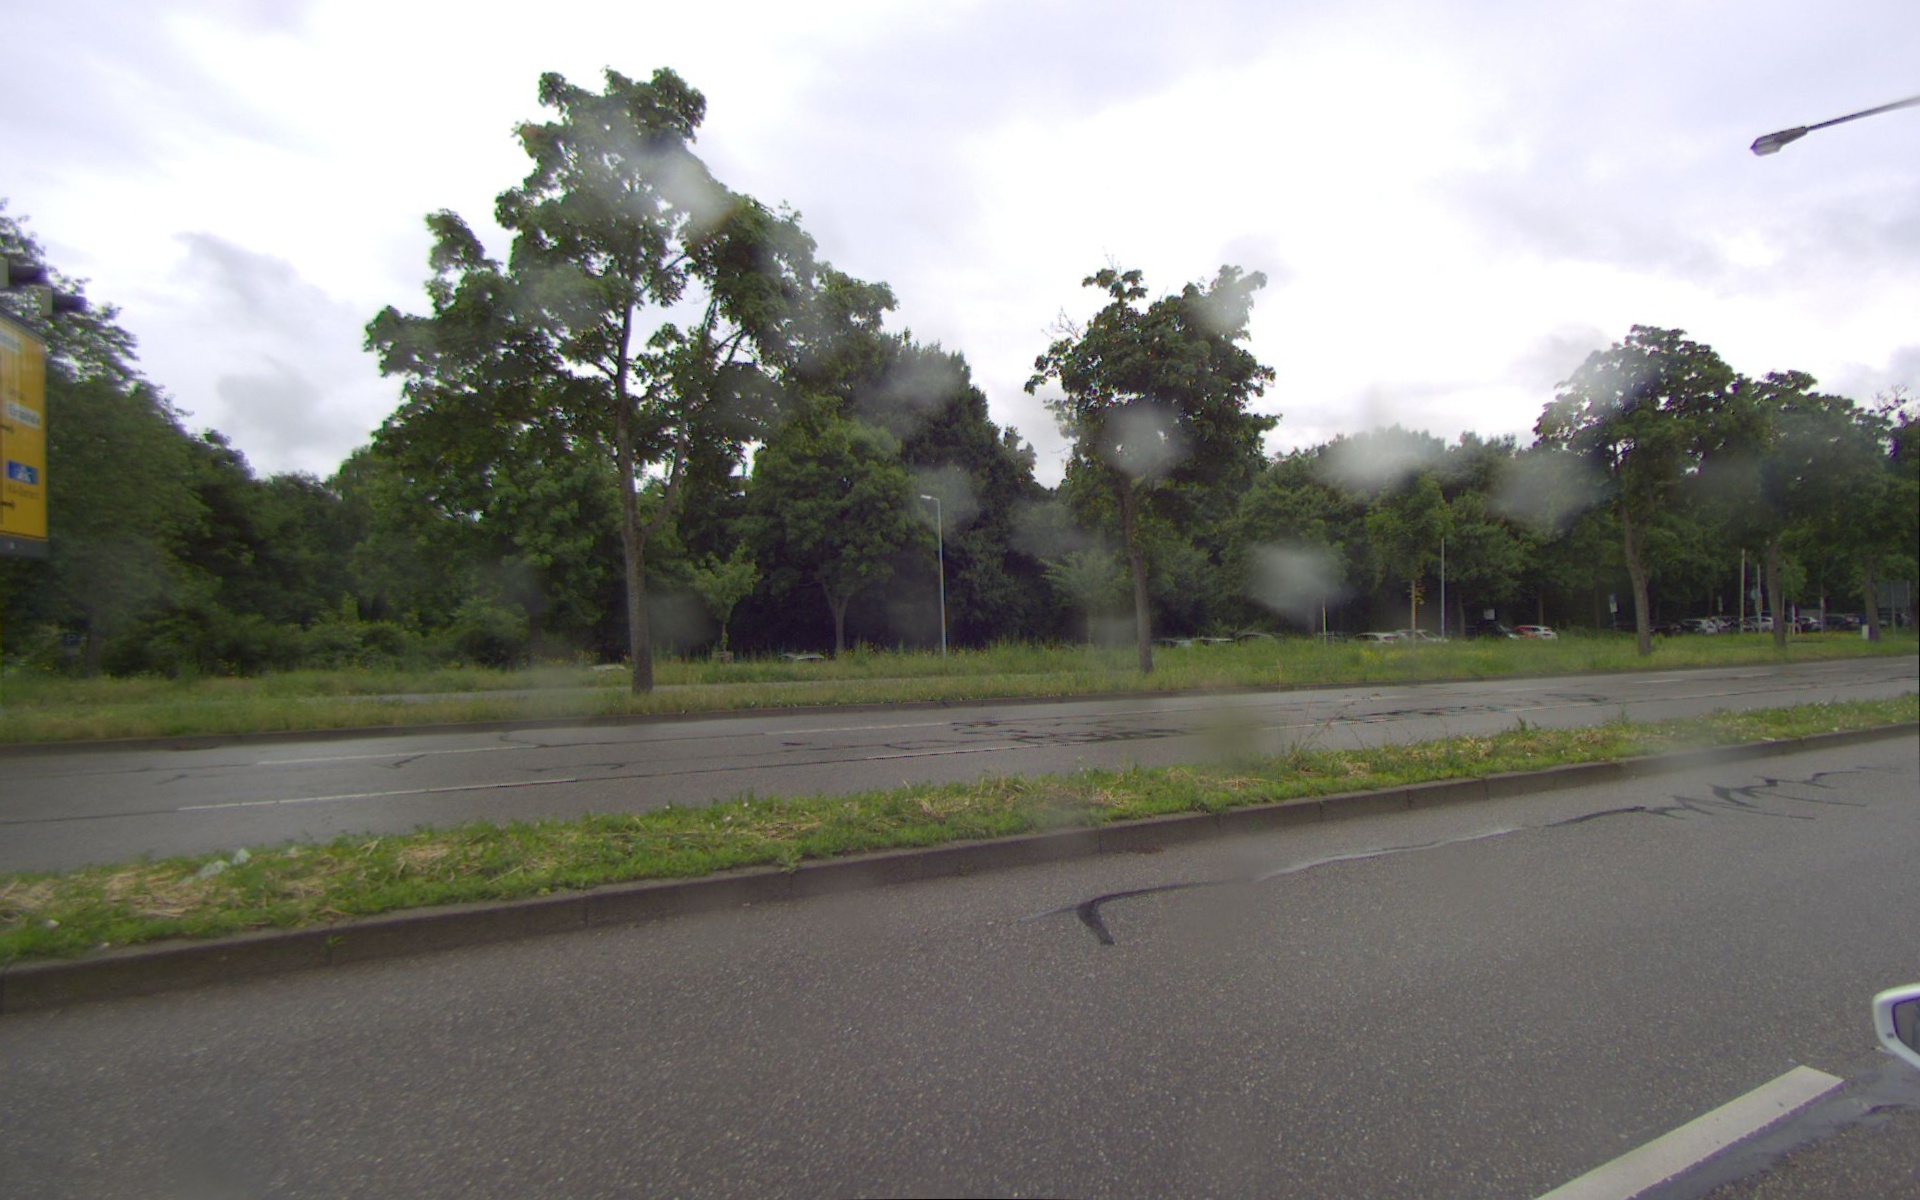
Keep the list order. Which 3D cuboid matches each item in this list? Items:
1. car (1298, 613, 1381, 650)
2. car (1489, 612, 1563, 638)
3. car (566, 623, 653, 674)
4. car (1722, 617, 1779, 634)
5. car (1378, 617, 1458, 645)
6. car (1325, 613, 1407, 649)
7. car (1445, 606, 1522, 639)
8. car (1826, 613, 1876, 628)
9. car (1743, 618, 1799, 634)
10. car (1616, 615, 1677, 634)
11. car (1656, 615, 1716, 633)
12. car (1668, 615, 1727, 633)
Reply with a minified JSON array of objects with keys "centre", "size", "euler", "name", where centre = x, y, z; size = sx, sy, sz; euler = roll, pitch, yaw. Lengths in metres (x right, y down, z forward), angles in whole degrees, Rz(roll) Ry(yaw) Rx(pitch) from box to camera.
[{"centre":[21.461,1.758,56.899],"size":[1.981,2.040,3.960],"euler":[0,-1,-36],"name":"car"},{"centre":[38.026,1.653,67.560],"size":[1.893,1.661,3.960],"euler":[0,-1,-36],"name":"car"},{"centre":[-12.771,1.702,36.460],"size":[1.981,1.707,3.960],"euler":[0,-1,-36],"name":"car"},{"centre":[71.164,2.263,90.479],"size":[1.510,1.471,3.809],"euler":[0,-1,-36],"name":"car"},{"centre":[27.779,1.861,60.995],"size":[1.981,1.639,3.960],"euler":[0,-1,-36],"name":"car"},{"centre":[23.595,1.784,58.455],"size":[1.981,2.040,3.960],"euler":[0,-1,-36],"name":"car"},{"centre":[33.821,1.468,64.949],"size":[1.981,2.040,3.960],"euler":[0,-1,-36],"name":"car"},{"centre":[91.780,2.136,103.493],"size":[3.795,1.471,1.515],"euler":[-1,-1,44],"name":"car"},{"centre":[75.226,2.392,93.196],"size":[1.510,1.471,3.809],"euler":[0,-1,-36],"name":"car"},{"centre":[54.187,1.924,79.313],"size":[1.474,1.445,3.709],"euler":[0,-1,-36],"name":"car"},{"centre":[60.412,2.002,83.617],"size":[1.510,1.471,3.809],"euler":[0,-1,-36],"name":"car"},{"centre":[62.544,2.056,85.209],"size":[1.510,1.471,3.809],"euler":[0,-1,-36],"name":"car"}]
